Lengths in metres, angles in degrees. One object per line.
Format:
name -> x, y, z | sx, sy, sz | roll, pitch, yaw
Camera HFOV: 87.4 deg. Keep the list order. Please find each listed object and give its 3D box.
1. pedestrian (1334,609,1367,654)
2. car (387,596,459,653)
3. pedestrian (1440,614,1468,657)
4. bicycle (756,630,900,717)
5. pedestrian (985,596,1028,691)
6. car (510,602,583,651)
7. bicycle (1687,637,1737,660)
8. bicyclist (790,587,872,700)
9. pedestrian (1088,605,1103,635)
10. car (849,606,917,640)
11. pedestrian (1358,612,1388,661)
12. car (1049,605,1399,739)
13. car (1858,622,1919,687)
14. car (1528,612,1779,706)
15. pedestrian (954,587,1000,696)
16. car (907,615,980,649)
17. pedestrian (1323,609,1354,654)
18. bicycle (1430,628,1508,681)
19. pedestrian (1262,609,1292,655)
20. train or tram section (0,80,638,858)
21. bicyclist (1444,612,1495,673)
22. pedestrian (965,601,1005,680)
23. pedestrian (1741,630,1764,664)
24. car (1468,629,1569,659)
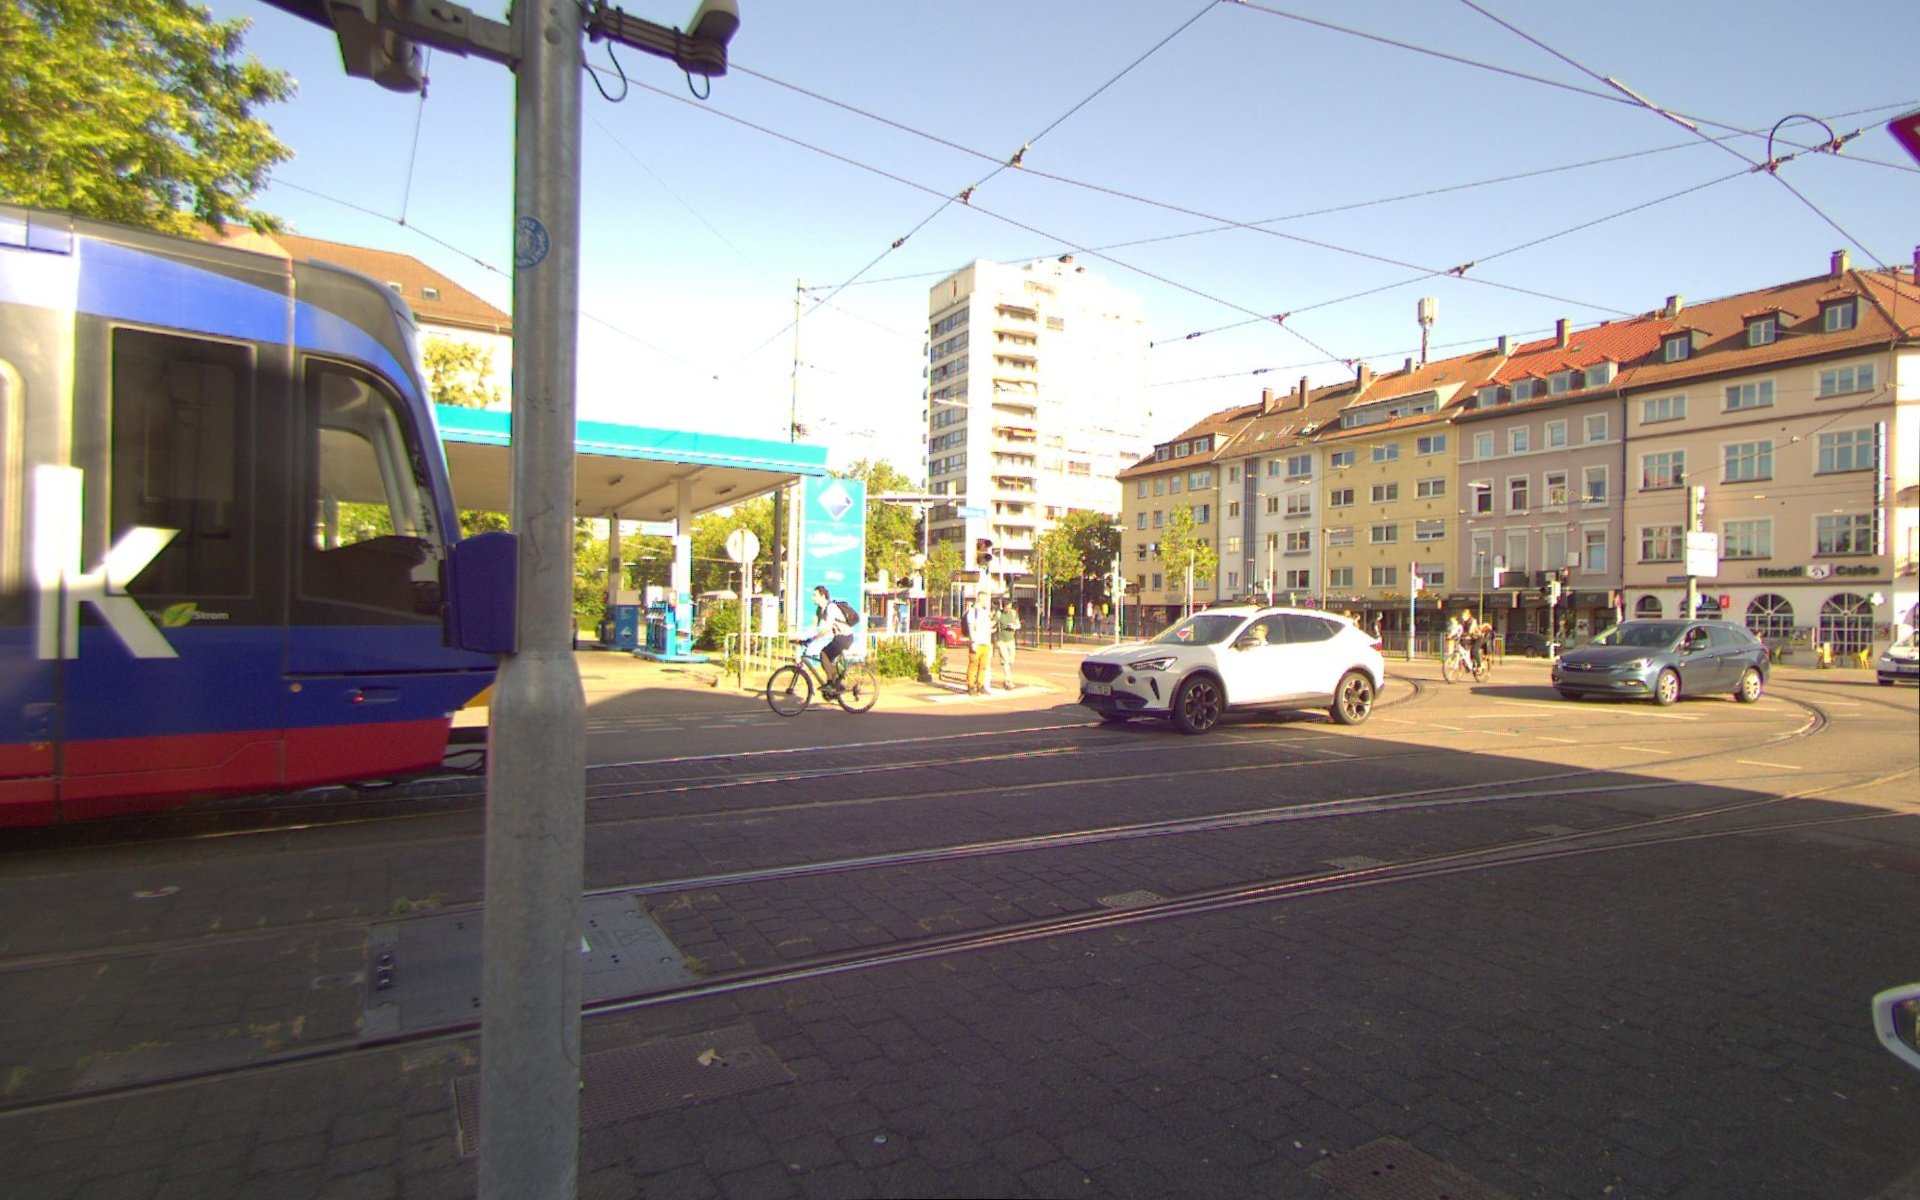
pedestrian -> 15.474, 1.244, 39.838 | 0.831, 1.756, 0.898 | 1, -1, -29
car -> -15.472, 0.676, 28.861 | 1.697, 1.506, 4.186 | 1, -1, -30
pedestrian -> 19.144, 1.385, 38.946 | 0.662, 1.648, 0.724 | 1, -1, -22
bicycle -> -1.890, 1.042, 14.547 | 2.032, 1.181, 0.483 | 1, -1, -31
pedestrian -> 0.918, 0.843, 19.832 | 0.727, 1.825, 0.742 | 1, -1, -5
car -> -13.621, 0.855, 32.960 | 1.697, 1.506, 4.186 | 1, -1, -30
bicycle -> 37.592, 2.405, 50.212 | 0.578, 1.081, 1.929 | 1, -1, -36
bicyclist -> -1.880, 0.623, 14.605 | 0.975, 1.580, 0.711 | 1, -1, -30
pedestrian -> 7.127, 1.058, 52.850 | 0.585, 1.589, 0.730 | 1, -1, -9
car -> -3.645, 1.061, 47.080 | 1.721, 1.539, 3.971 | 1, -1, -28
pedestrian -> 15.176, 1.340, 36.928 | 0.647, 1.756, 0.794 | 1, -1, -33
car -> 3.506, 0.867, 13.242 | 4.294, 1.517, 1.985 | 1, -1, -29
car -> 24.074, 1.336, 24.681 | 3.534, 1.517, 1.713 | 1, -1, -24
car -> 12.491, 1.016, 18.056 | 4.513, 1.517, 1.768 | 1, -1, -26
pedestrian -> 0.313, 0.754, 18.352 | 0.577, 1.951, 0.626 | 1, -1, -29
car -> -0.833, 1.515, 48.002 | 1.697, 1.506, 4.186 | 1, -1, -30
pedestrian -> 14.844, 1.225, 39.412 | 0.779, 1.756, 0.817 | 1, -1, -29
bicycle -> 11.602, 1.236, 22.890 | 1.931, 1.181, 0.484 | 1, -1, -24
pedestrian -> 12.294, 1.226, 38.963 | 0.833, 1.746, 0.824 | 1, -1, -8
train or tram section -> -7.891, -0.673, 4.374 | 11.982, 3.661, 3.038 | 1, -1, -33
bicyclist -> 11.616, 0.957, 22.890 | 0.885, 1.357, 0.602 | 1, -1, -23
pedestrian -> 0.558, 0.912, 22.652 | 0.721, 1.752, 0.746 | 1, -1, -15
pedestrian -> 36.928, 2.188, 46.788 | 0.688, 1.544, 0.654 | 1, -1, -34
car -> 30.567, 2.402, 55.078 | 1.725, 1.459, 4.614 | 2, -1, -32
